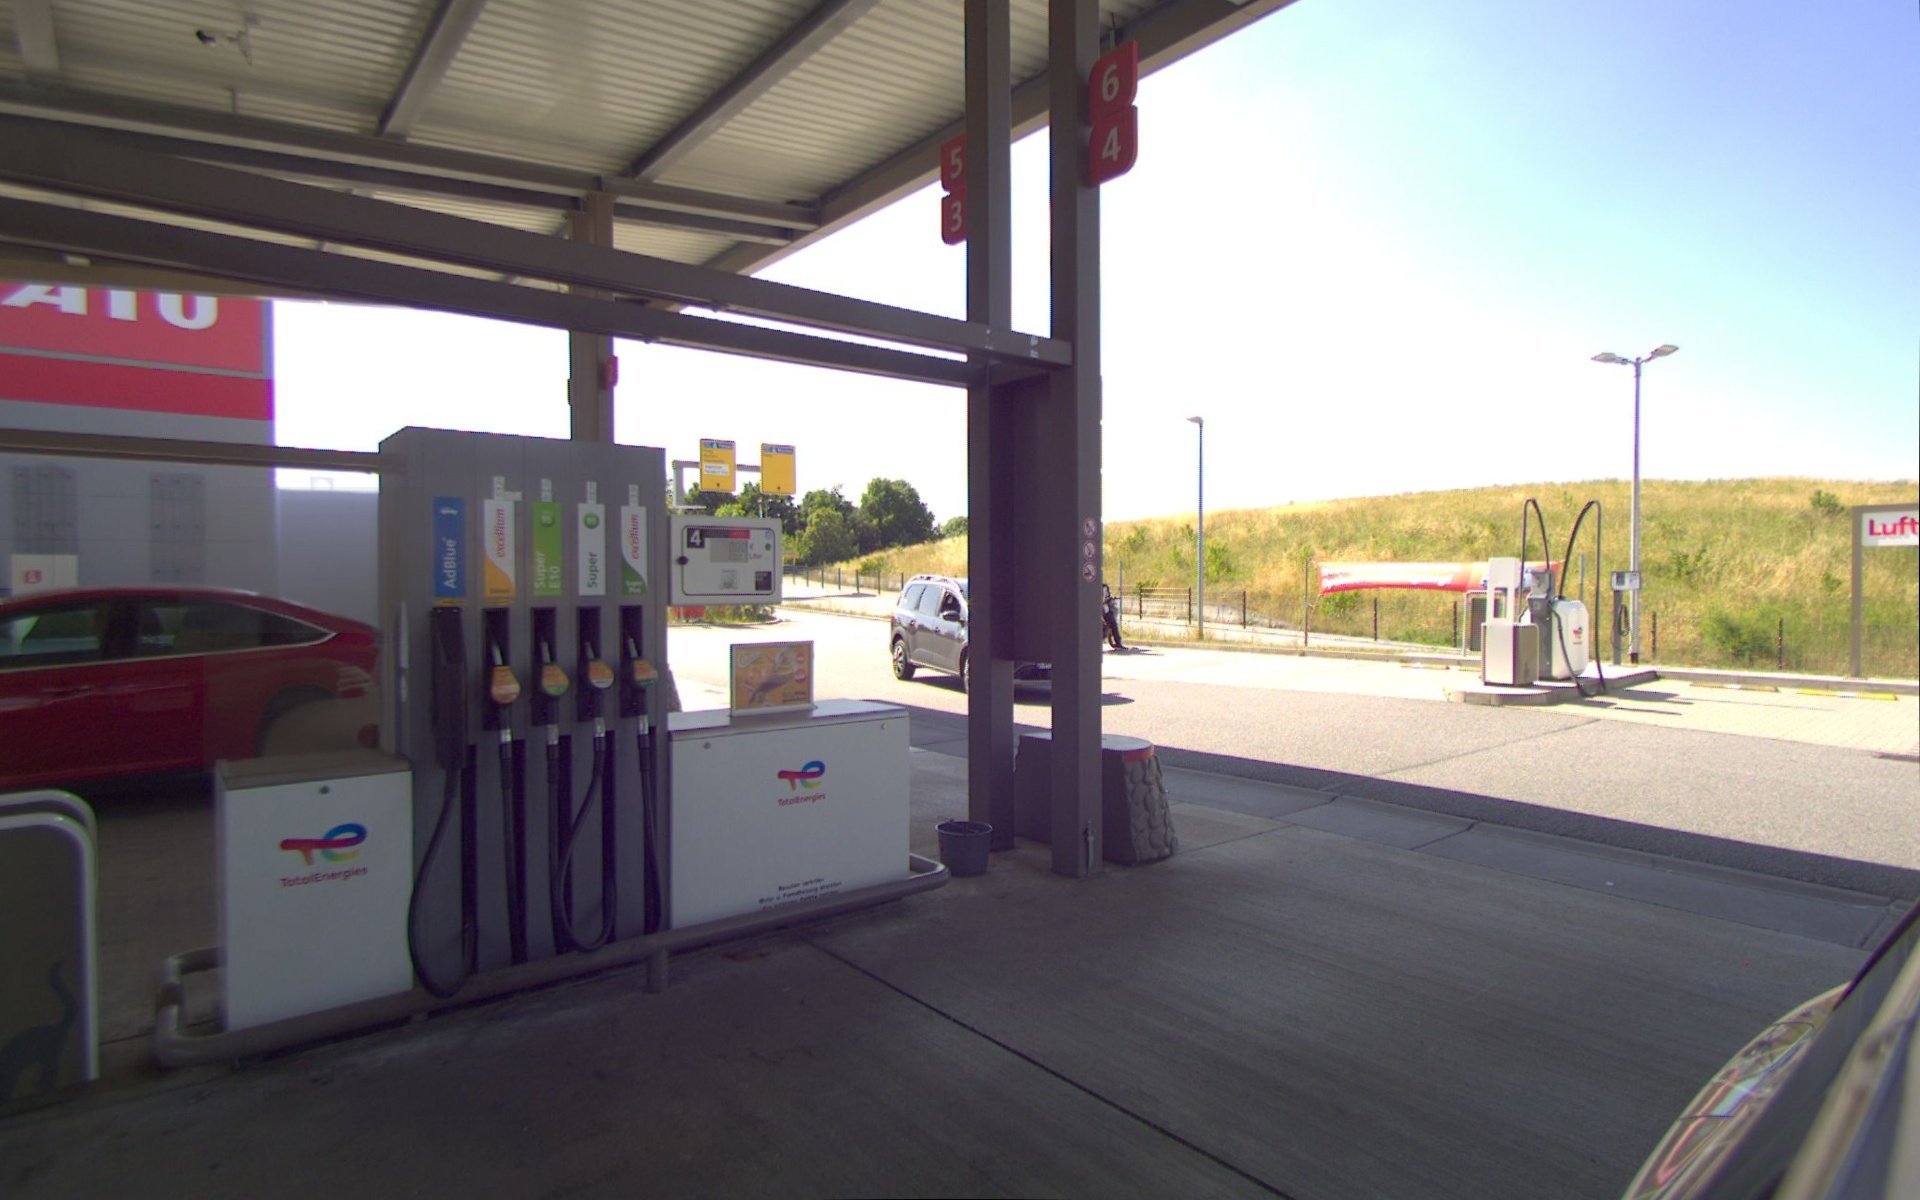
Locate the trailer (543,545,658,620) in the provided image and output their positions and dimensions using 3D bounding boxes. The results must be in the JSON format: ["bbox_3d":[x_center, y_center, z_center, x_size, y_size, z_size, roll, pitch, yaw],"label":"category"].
[{"bbox_3d":[-12.435,-0.630,35.290,1.970,2.457,3.985,1,1,13],"label":"trailer"}]

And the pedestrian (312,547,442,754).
[{"bbox_3d":[-5.185,0.413,9.001,0.911,1.724,0.703,0,1,-39],"label":"pedestrian"}]

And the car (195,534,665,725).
[{"bbox_3d":[-6.236,0.291,12.237,4.712,1.874,2.032,1,1,-40],"label":"car"}]

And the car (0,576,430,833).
[{"bbox_3d":[-5.957,0.589,6.628,4.158,1.487,1.702,0,1,-40],"label":"car"}]

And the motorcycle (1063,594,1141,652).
[{"bbox_3d":[3.147,0.472,22.169,1.035,1.119,2.395,1,2,26],"label":"motorcycle"}]

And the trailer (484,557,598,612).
[{"bbox_3d":[-16.376,-0.604,39.736,1.784,2.039,3.965,1,1,26],"label":"trailer"}]

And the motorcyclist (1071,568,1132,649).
[{"bbox_3d":[3.077,0.168,21.998,1.024,1.709,1.089,1,1,26],"label":"motorcyclist"}]

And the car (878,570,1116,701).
[{"bbox_3d":[0.350,0.406,15.267,1.707,1.665,4.641,0,1,-24],"label":"car"}]

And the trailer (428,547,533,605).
[{"bbox_3d":[-21.413,-1.077,45.361,1.977,2.457,3.969,1,1,23],"label":"trailer"}]

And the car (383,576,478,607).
[{"bbox_3d":[-24.089,-0.414,46.178,1.659,1.334,3.815,1,1,17],"label":"car"}]
